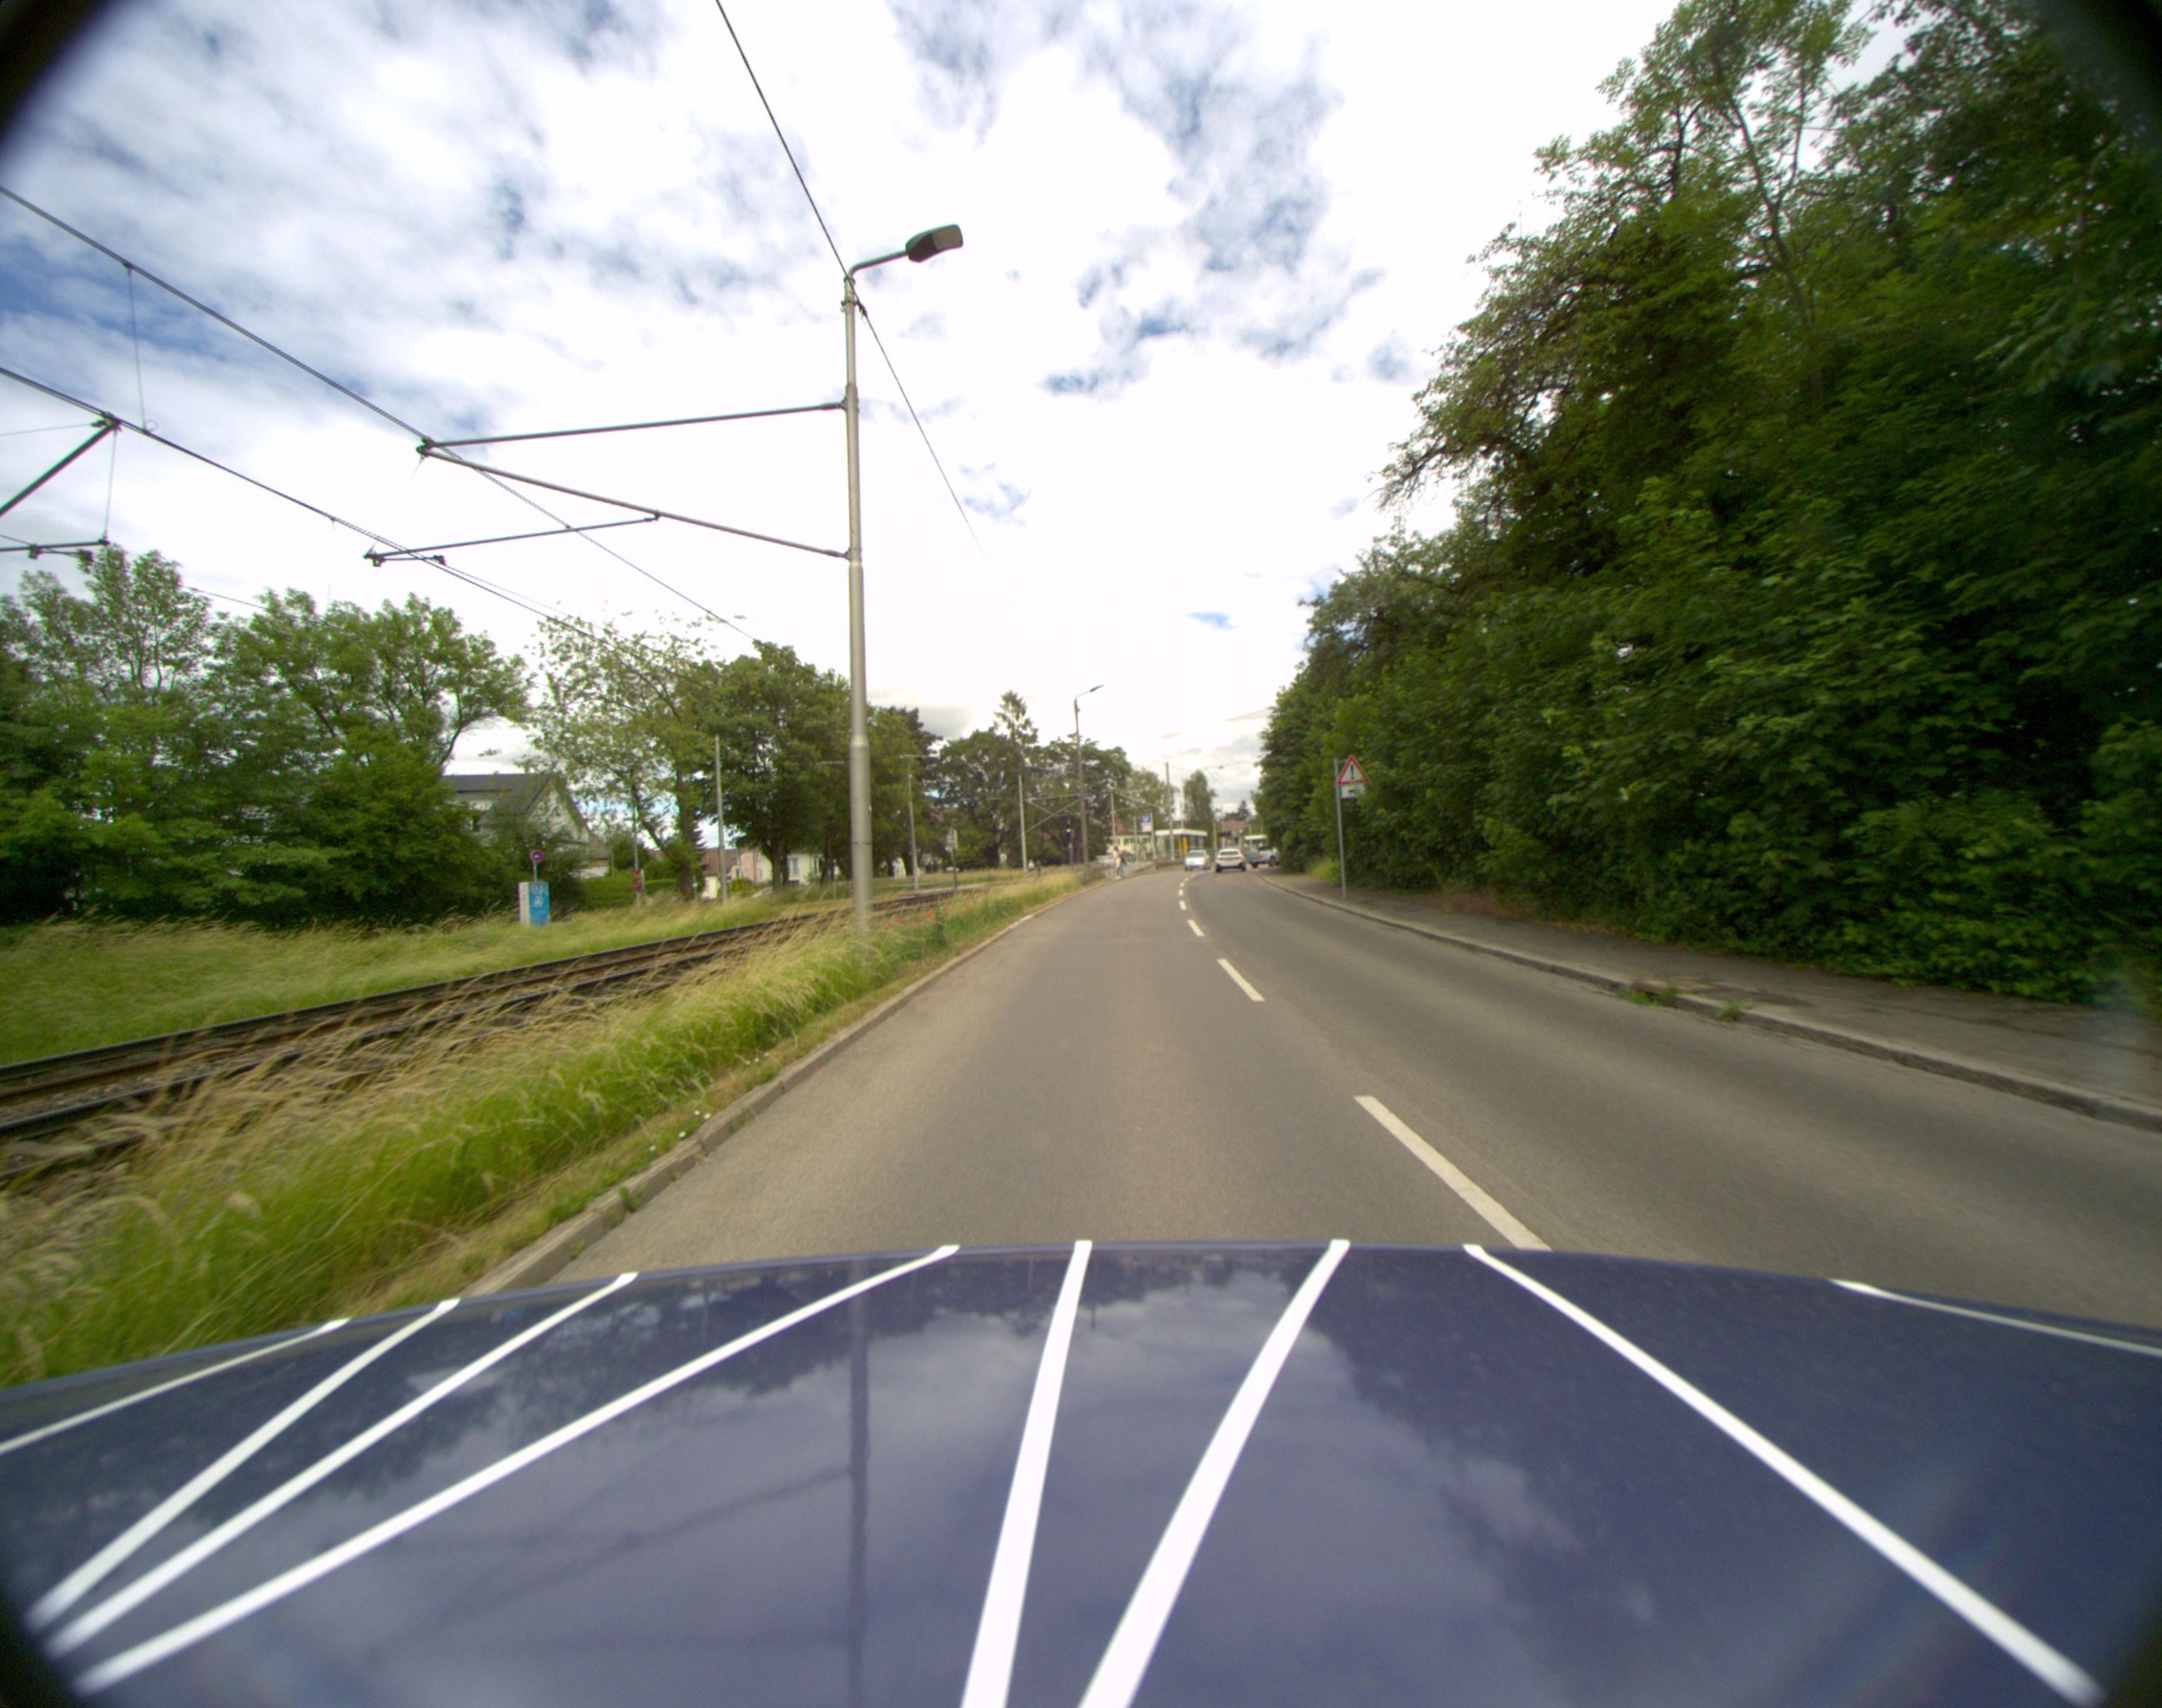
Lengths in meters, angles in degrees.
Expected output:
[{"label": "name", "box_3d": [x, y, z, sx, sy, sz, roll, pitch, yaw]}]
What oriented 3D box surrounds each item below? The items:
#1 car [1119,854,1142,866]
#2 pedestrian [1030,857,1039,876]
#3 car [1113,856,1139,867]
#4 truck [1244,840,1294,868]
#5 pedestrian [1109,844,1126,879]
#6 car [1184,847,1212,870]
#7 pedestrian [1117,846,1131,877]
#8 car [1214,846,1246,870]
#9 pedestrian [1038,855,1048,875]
[{"label": "car", "box_3d": [9.022, 1.023, 137.781, 1.995, 1.851, 4.243, -4, -1, 41]}, {"label": "pedestrian", "box_3d": [-3.957, 1.039, 64.357, 0.493, 1.552, 0.693, -4, 0, 16]}, {"label": "car", "box_3d": [6.212, 1.062, 104.856, 1.995, 1.340, 4.007, -4, -1, 26]}, {"label": "truck", "box_3d": [15.282, -0.010, 61.469, 1.849, 1.954, 4.967, -3, 0, 40]}, {"label": "pedestrian", "box_3d": [2.012, 0.408, 41.924, 0.660, 1.830, 0.596, -5, 3, -10]}, {"label": "car", "box_3d": [9.272, 0.304, 60.106, 1.732, 1.639, 4.230, -4, -1, 13]}, {"label": "pedestrian", "box_3d": [2.431, 0.434, 43.114, 0.475, 1.719, 0.799, -5, 3, -11]}, {"label": "car", "box_3d": [9.811, 0.228, 50.182, 1.933, 1.513, 4.662, -1, 1, 10]}, {"label": "pedestrian", "box_3d": [-3.246, 0.953, 64.210, 0.493, 1.613, 0.791, -4, 0, 16]}]
